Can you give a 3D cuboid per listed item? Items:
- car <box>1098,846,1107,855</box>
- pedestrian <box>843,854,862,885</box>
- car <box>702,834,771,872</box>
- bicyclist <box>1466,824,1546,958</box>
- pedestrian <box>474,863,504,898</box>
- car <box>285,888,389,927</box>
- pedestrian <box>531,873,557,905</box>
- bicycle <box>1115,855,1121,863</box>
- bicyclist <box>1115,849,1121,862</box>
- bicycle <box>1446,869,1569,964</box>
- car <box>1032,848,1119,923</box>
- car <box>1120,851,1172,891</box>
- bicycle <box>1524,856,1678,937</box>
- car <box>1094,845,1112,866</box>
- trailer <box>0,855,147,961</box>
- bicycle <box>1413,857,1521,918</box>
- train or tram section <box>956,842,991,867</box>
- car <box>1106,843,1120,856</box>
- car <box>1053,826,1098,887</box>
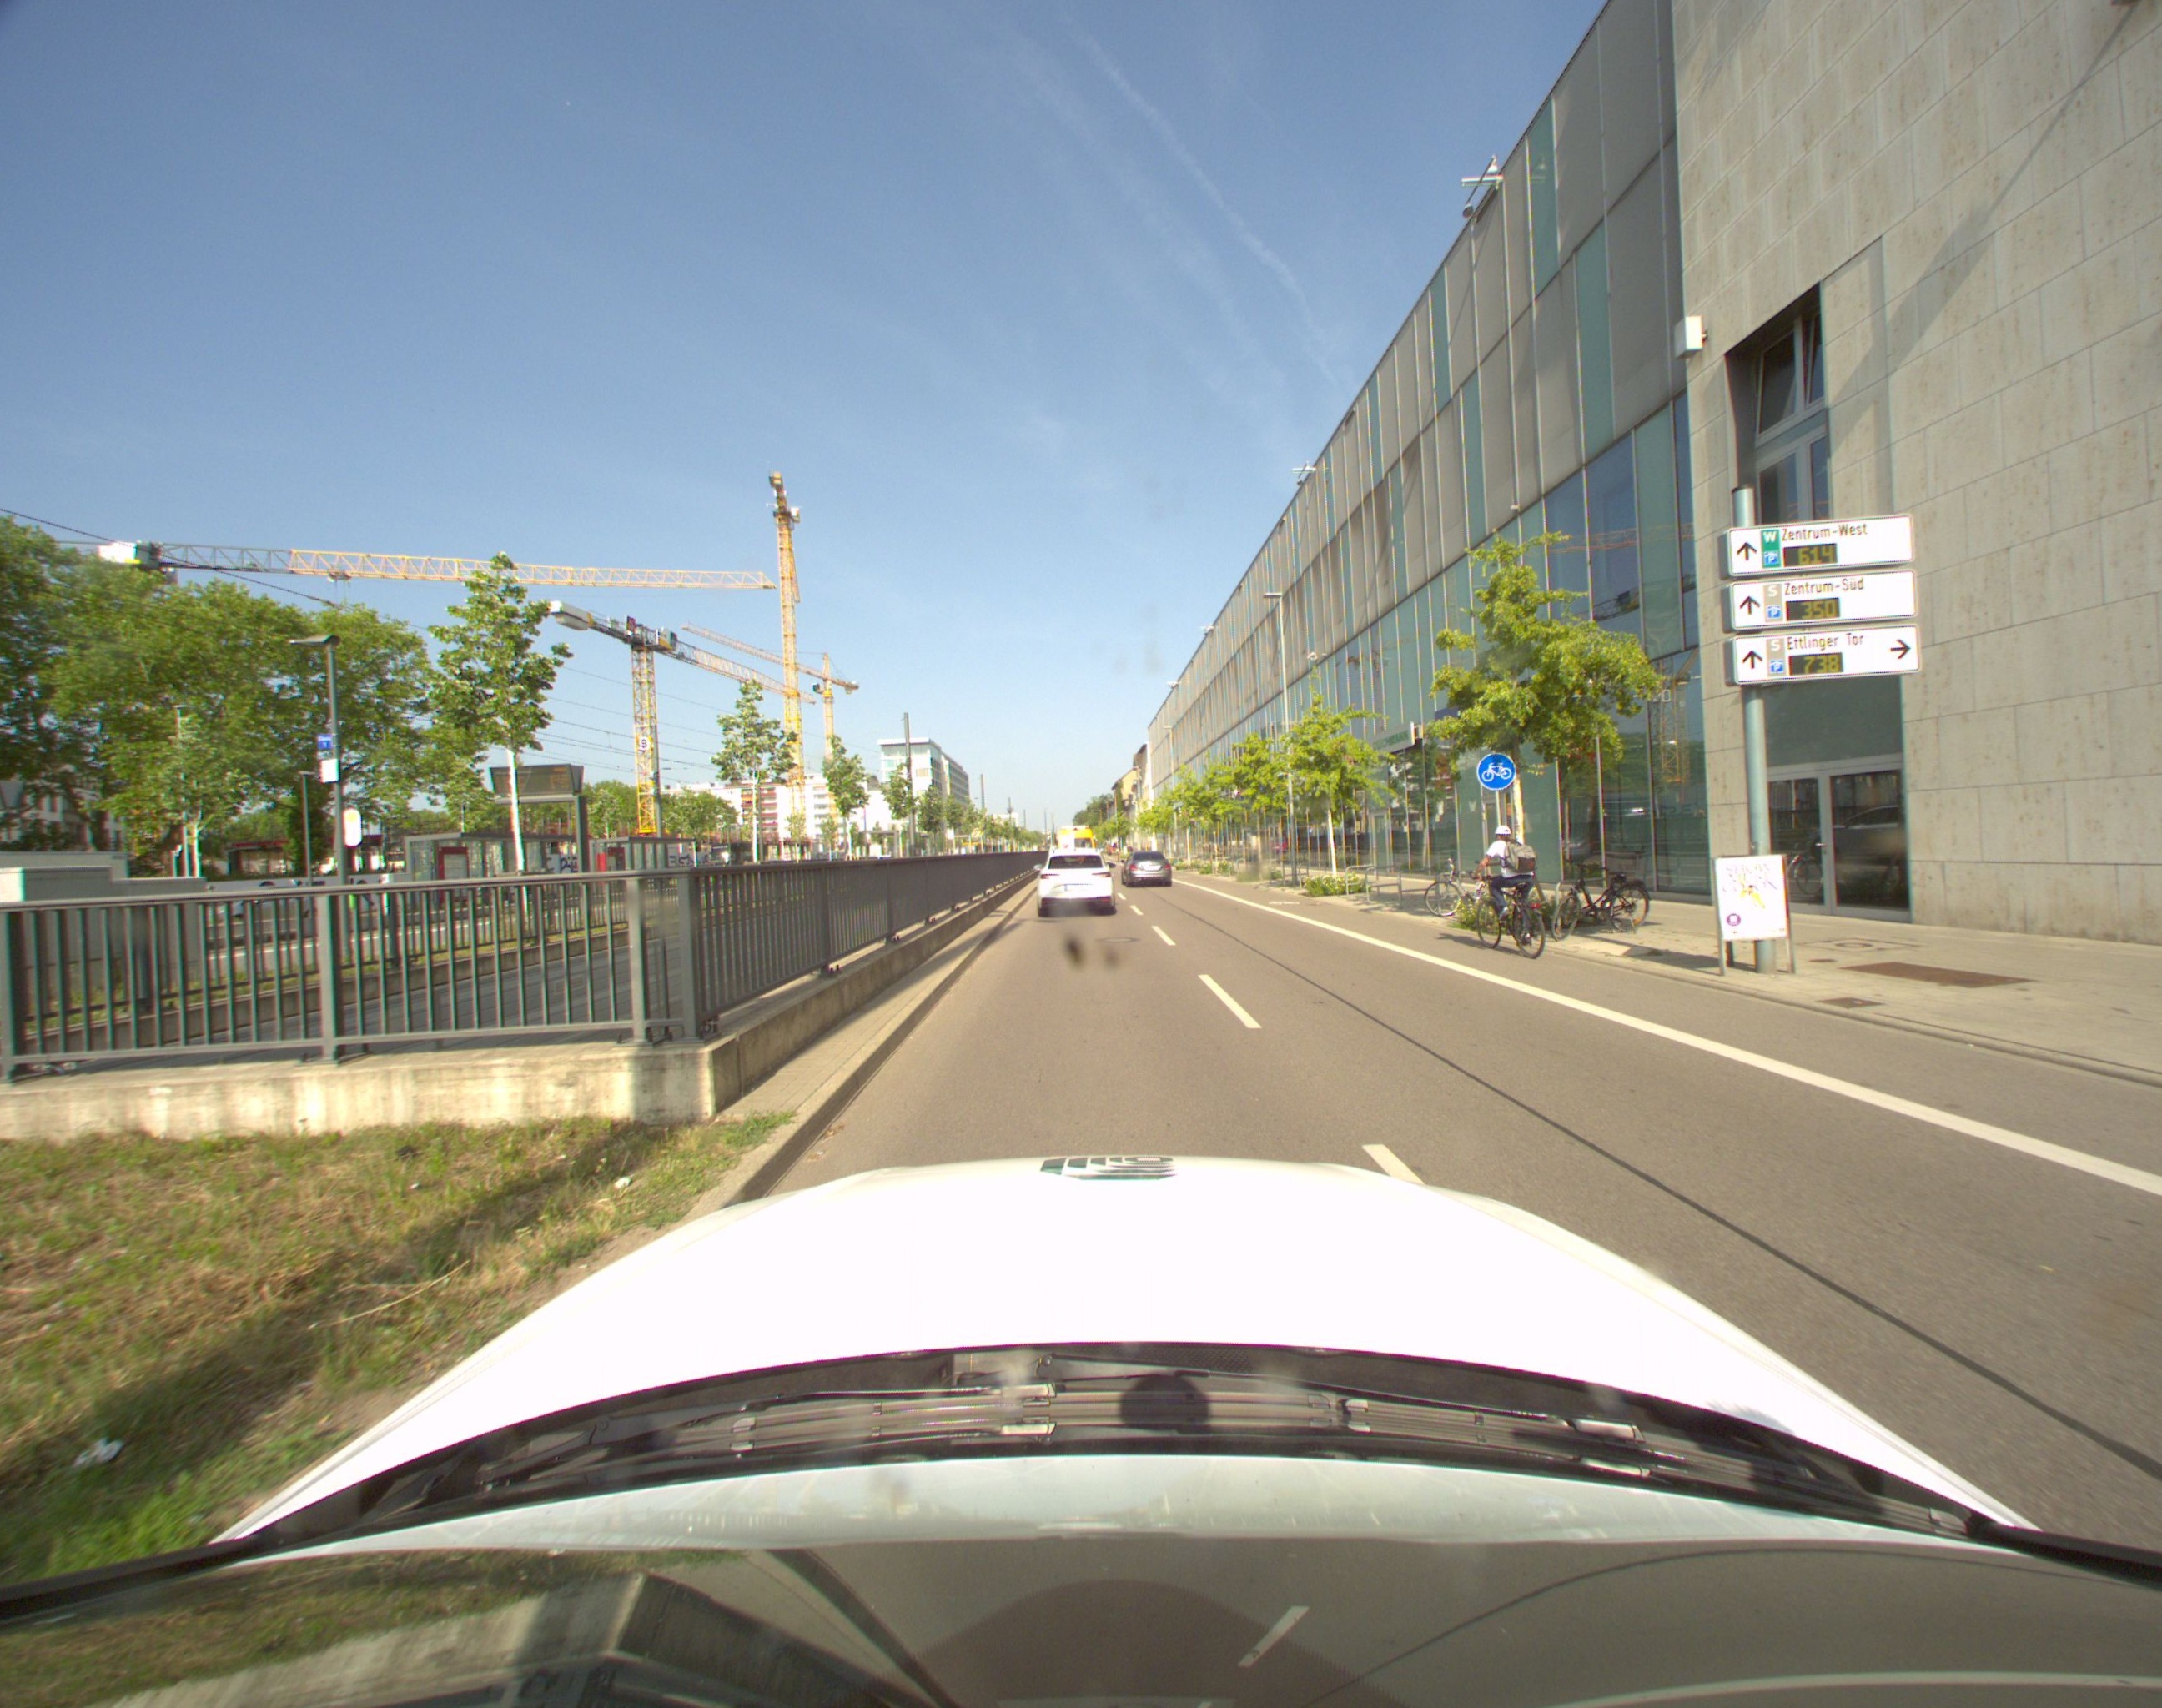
[{"bbox_3d":[4.632,-0.720,178.887,1.807,1.812,3.834,-2,1,-1],"label":"car"},{"bbox_3d":[-11.991,0.807,42.678,0.733,1.619,0.710,-3,0,-2],"label":"pedestrian"},{"bbox_3d":[-34.902,-0.143,82.948,3.045,3.512,9.229,-2,0,-1],"label":"car"},{"bbox_3d":[5.850,0.490,11.247,0.648,1.748,0.770,-3,0,2],"label":"bicyclist"},{"bbox_3d":[-23.290,1.030,32.035,0.679,1.300,0.592,-3,0,-4],"label":"pedestrian"},{"bbox_3d":[-34.289,2.437,37.655,1.591,1.463,3.433,-3,0,0],"label":"car"},{"bbox_3d":[-23.065,1.509,34.983,0.679,1.300,0.592,-3,0,-4],"label":"pedestrian"},{"bbox_3d":[4.608,0.665,102.148,0.653,0.938,1.518,-3,0,2],"label":"bicycle"},{"bbox_3d":[4.588,0.158,102.002,0.637,1.577,0.771,-3,0,1],"label":"bicyclist"},{"bbox_3d":[5.860,0.811,11.349,0.658,1.117,2.052,-3,1,2],"label":"bicycle"},{"bbox_3d":[-0.131,0.688,20.250,1.864,1.574,3.999,-3,0,0],"label":"car"},{"bbox_3d":[2.561,0.651,32.934,1.755,1.436,4.114,-1,1,0],"label":"car"},{"bbox_3d":[7.672,0.612,12.070,1.833,1.113,0.687,-1,0,1],"label":"bicycle"},{"bbox_3d":[2.318,0.137,84.168,1.782,2.013,4.001,-1,0,1],"label":"car"},{"bbox_3d":[-29.631,1.458,22.414,2.039,2.781,5.019,-1,0,-1],"label":"trailer"},{"bbox_3d":[7.682,0.661,16.248,1.871,1.109,0.490,-3,0,1],"label":"bicycle"},{"bbox_3d":[-17.161,0.032,131.846,2.896,3.676,18.139,-1,0,1],"label":"train or tram section"},{"bbox_3d":[5.289,-0.678,135.199,2.057,2.013,4.586,-3,0,-1],"label":"car"},{"bbox_3d":[-0.271,0.036,42.125,2.014,2.795,5.400,-3,2,0],"label":"car"}]
